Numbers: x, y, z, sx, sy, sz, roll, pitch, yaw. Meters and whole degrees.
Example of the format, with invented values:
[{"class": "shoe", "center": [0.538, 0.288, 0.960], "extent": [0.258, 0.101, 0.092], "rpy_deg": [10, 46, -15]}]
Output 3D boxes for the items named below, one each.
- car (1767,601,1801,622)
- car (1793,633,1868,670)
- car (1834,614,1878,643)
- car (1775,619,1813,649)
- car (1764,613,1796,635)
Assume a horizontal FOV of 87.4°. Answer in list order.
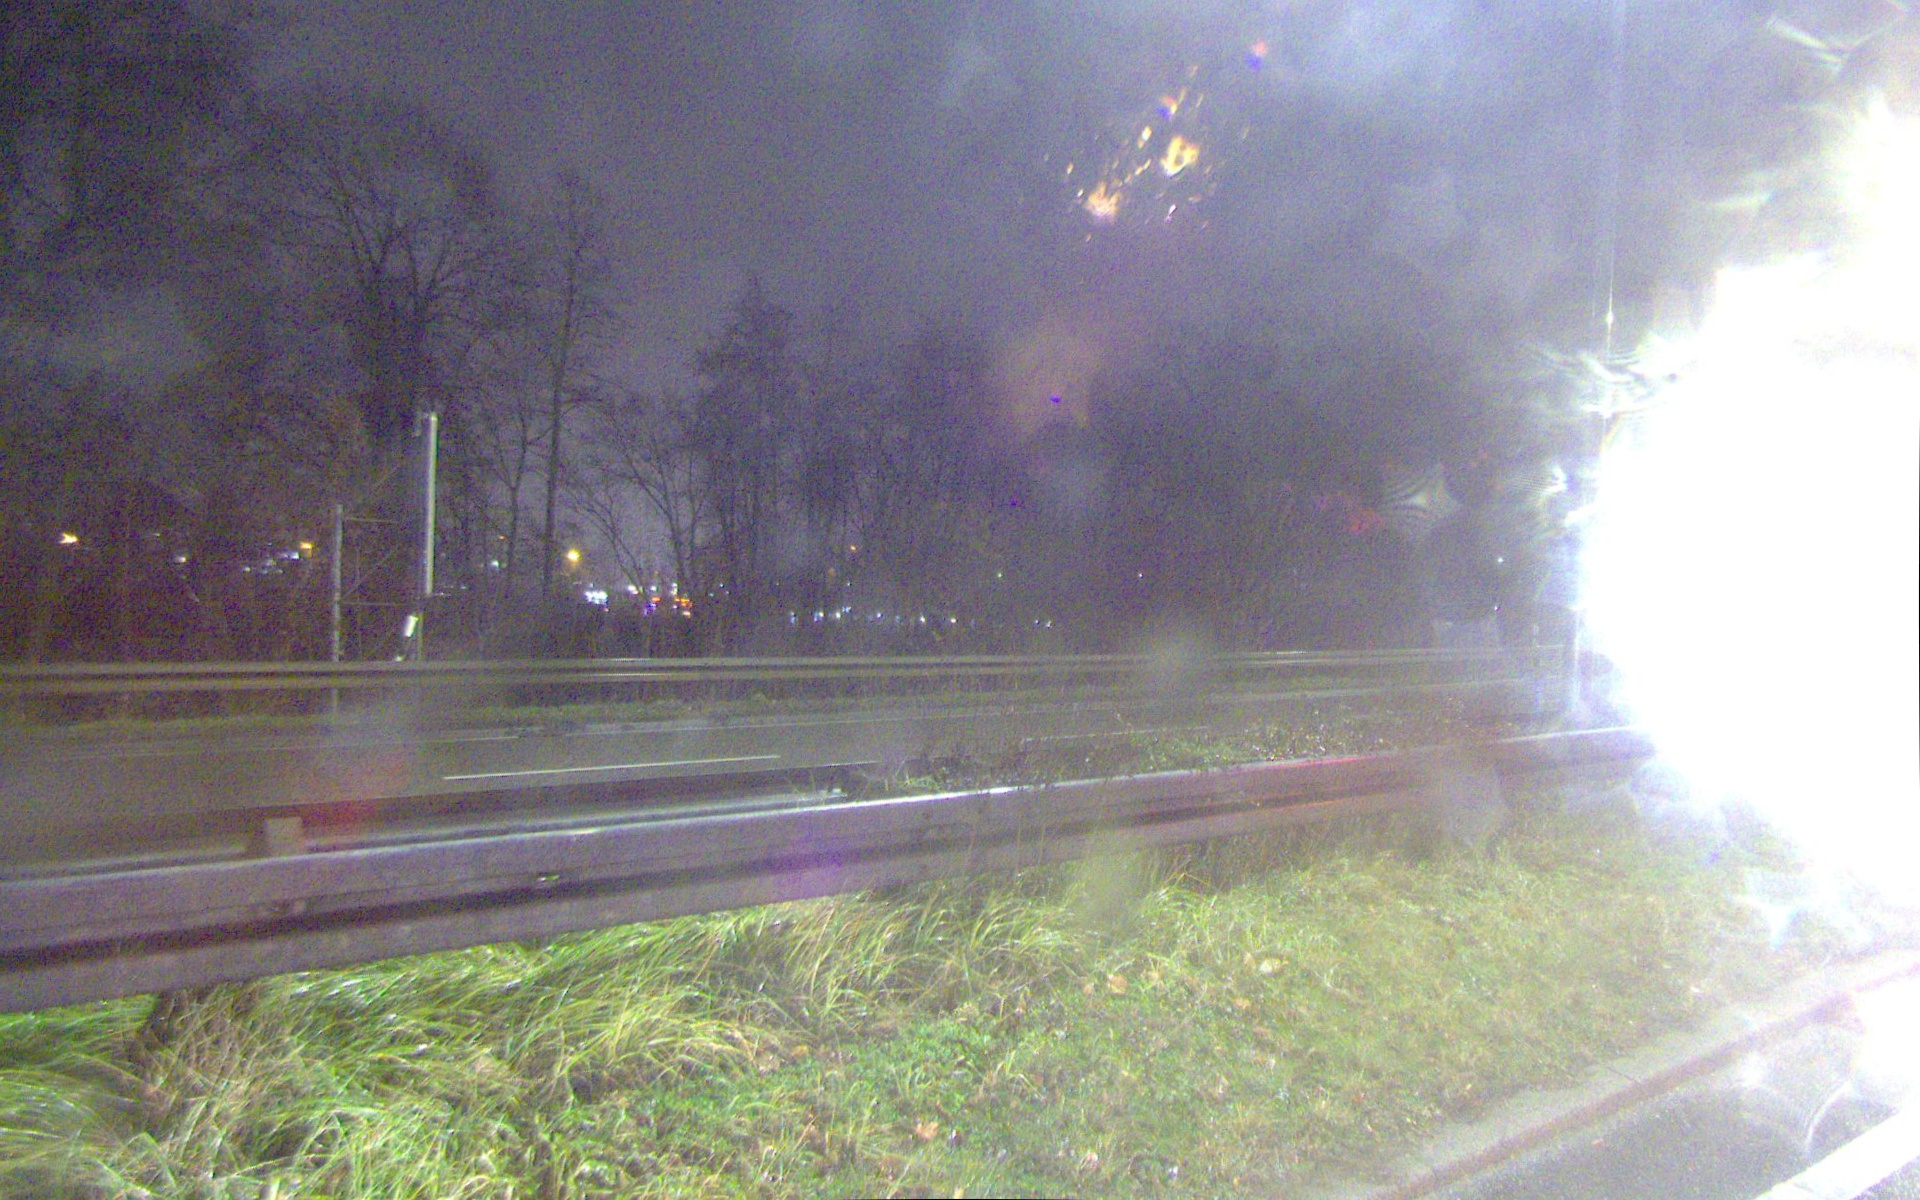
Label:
[{"class": "car", "center": [58.531, 0.846, 71.355], "extent": [1.605, 1.387, 3.710], "rpy_deg": [2, 0, 36]}, {"class": "car", "center": [38.566, 2.252, 44.464], "extent": [4.803, 1.528, 1.976], "rpy_deg": [2, -2, -42]}, {"class": "car", "center": [48.278, 1.511, 54.203], "extent": [1.692, 1.442, 4.643], "rpy_deg": [1, 0, 41]}, {"class": "car", "center": [53.053, 2.134, 63.955], "extent": [1.736, 1.762, 3.983], "rpy_deg": [2, 0, 38]}, {"class": "car", "center": [63.729, 1.872, 78.094], "extent": [1.743, 1.653, 4.234], "rpy_deg": [1, 0, 37]}]
